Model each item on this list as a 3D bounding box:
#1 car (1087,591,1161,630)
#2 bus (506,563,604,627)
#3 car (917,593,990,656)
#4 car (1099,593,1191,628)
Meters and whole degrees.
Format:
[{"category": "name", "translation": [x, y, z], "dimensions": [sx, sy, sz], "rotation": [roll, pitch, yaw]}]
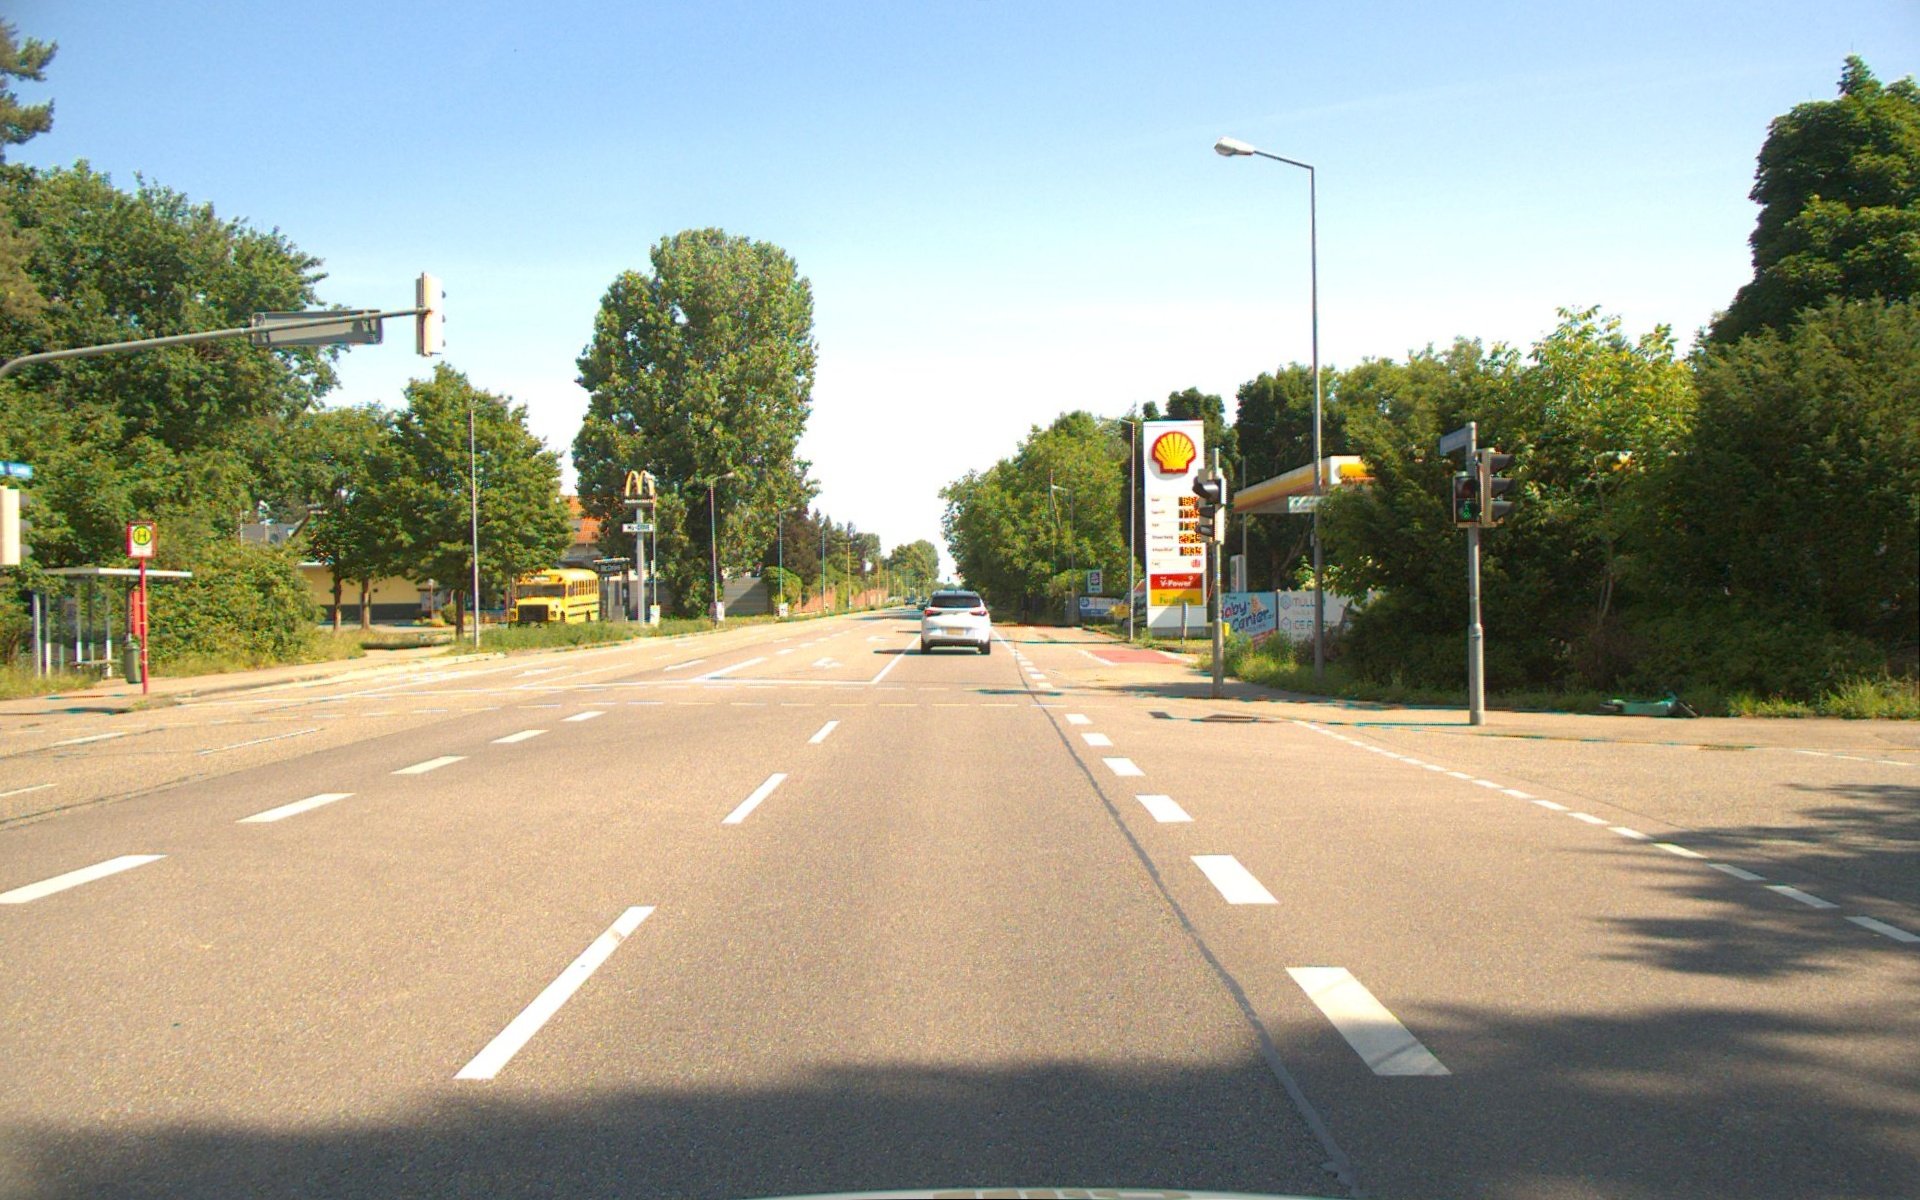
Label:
[{"category": "car", "translation": [6.736, 0.432, 67.925], "dimensions": [2.685, 1.557, 1.567], "rotation": [-1, -2, 44]}, {"category": "bus", "translation": [-18.558, -0.202, 76.420], "dimensions": [2.527, 2.726, 8.993], "rotation": [1, 0, -2]}, {"category": "car", "translation": [-0.156, 0.618, 43.745], "dimensions": [1.809, 1.568, 4.224], "rotation": [1, 0, 0]}, {"category": "car", "translation": [8.489, 0.471, 75.962], "dimensions": [3.911, 1.557, 1.583], "rotation": [1, 0, -7]}]
